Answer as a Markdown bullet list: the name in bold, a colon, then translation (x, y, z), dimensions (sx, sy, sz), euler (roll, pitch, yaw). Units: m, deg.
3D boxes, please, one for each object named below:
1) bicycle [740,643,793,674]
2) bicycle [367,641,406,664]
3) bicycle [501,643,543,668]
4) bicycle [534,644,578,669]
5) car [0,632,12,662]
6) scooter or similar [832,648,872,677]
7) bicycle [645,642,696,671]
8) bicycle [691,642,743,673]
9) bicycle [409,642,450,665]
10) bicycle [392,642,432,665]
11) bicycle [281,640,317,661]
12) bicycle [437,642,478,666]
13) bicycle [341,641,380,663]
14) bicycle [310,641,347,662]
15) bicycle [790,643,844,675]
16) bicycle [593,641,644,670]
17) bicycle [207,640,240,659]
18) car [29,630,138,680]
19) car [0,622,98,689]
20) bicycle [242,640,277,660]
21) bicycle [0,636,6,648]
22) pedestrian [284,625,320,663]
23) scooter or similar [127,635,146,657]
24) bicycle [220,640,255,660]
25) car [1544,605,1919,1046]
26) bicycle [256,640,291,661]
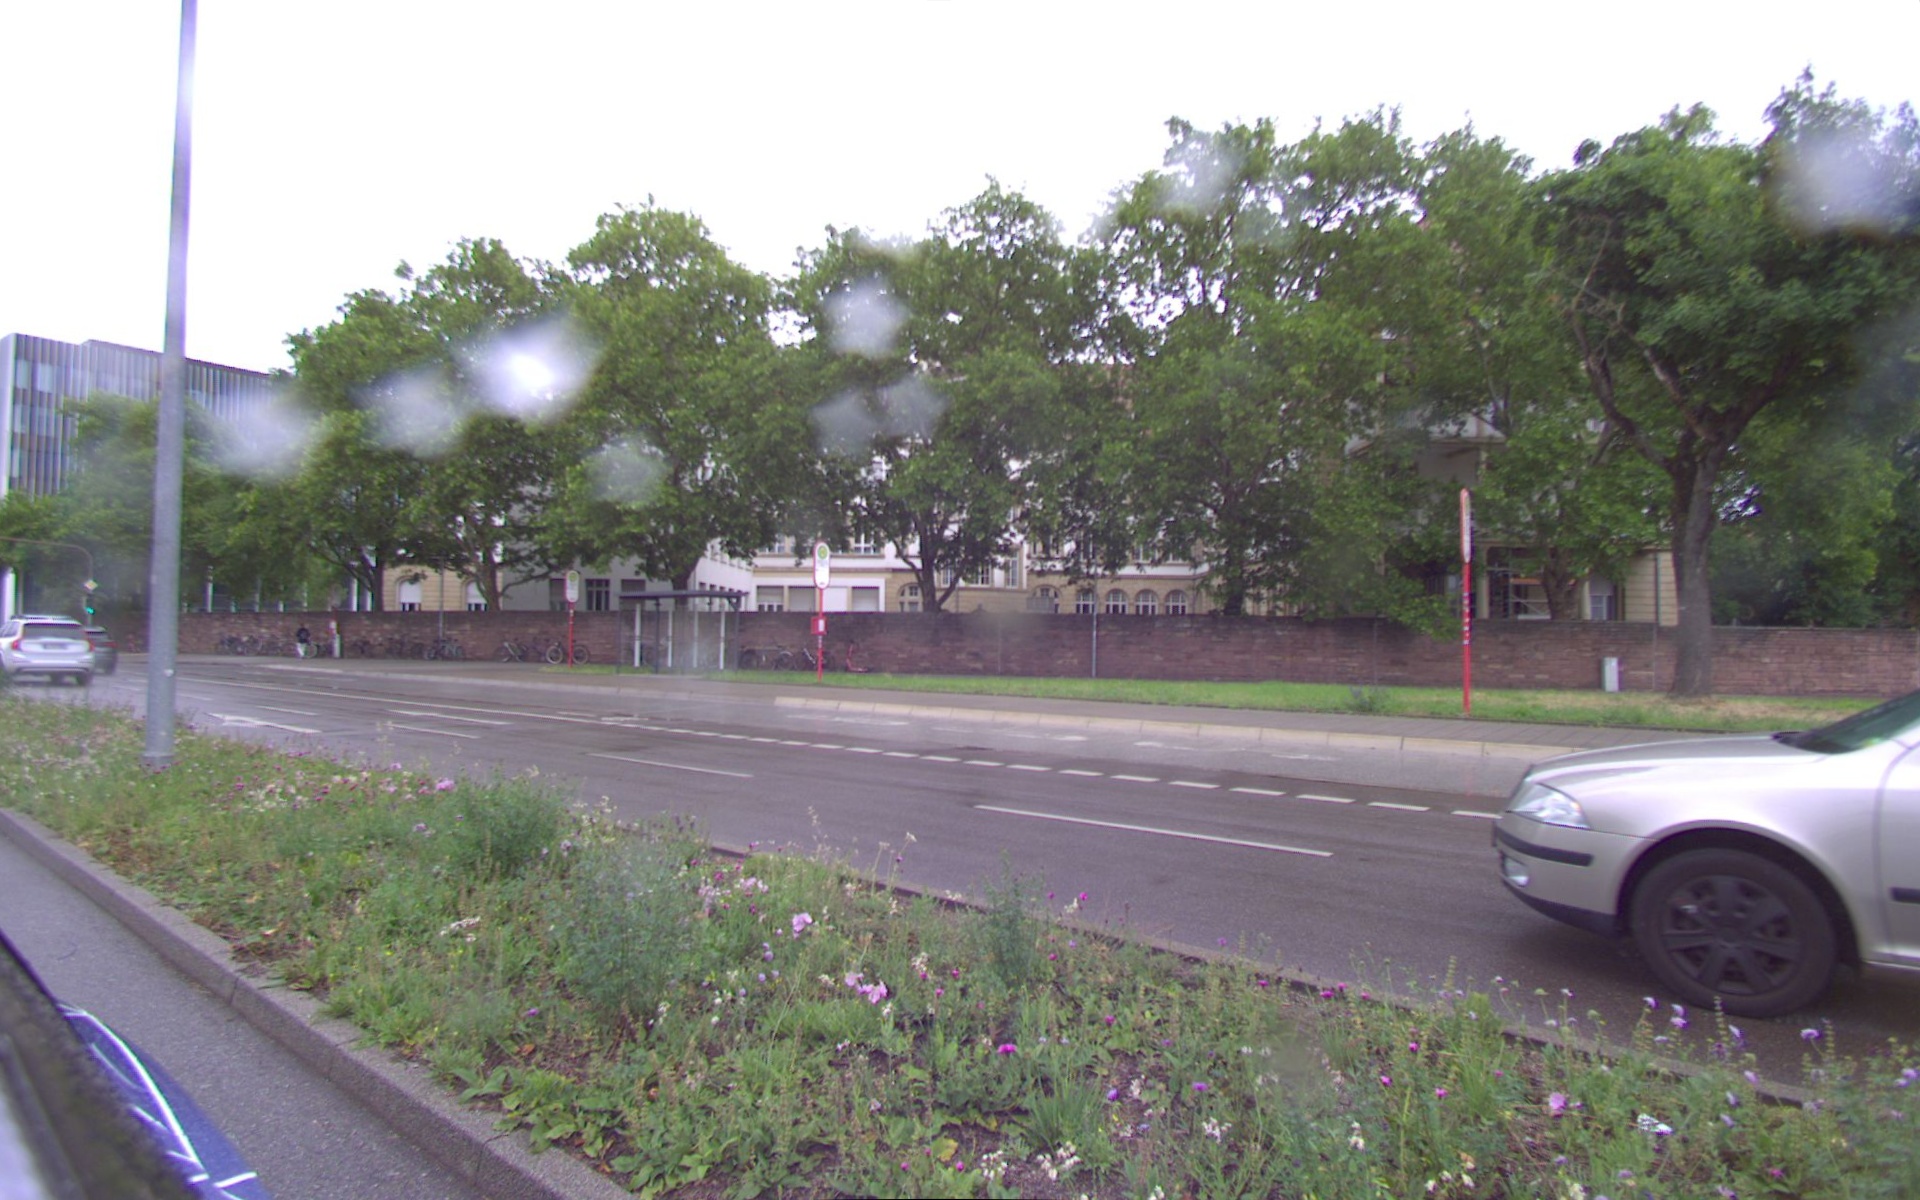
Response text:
- **bicycle**: translation (-7.347, 2.222, 38.452), dimensions (1.978, 1.144, 0.570), euler (-1, -3, 22)
- **bicycle**: translation (-26.216, 2.387, 46.223), dimensions (1.692, 0.990, 0.727), euler (-1, -2, 27)
- **bicycle**: translation (-18.480, 2.337, 42.681), dimensions (1.692, 0.990, 0.727), euler (-1, -2, 27)
- **bicycle**: translation (-16.649, 2.337, 41.697), dimensions (1.692, 0.990, 0.727), euler (-1, -2, 27)
- **car**: translation (-47.977, 2.257, 49.376), dimensions (4.149, 1.415, 1.664), euler (-1, -4, 36)
- **scooter or similar**: translation (-4.006, 2.313, 37.475), dimensions (1.353, 1.055, 0.570), euler (-1, -3, 22)
- **bicycle**: translation (-11.414, 2.217, 39.894), dimensions (1.975, 1.144, 0.571), euler (-1, -3, 18)
- **bicycle**: translation (-9.446, 2.226, 39.296), dimensions (1.978, 1.144, 0.570), euler (-1, -3, 22)
- **bicycle**: translation (-23.487, 2.363, 44.807), dimensions (1.692, 0.990, 0.727), euler (-1, -2, 27)
- **bicycle**: translation (-24.645, 2.383, 45.500), dimensions (1.692, 0.990, 0.727), euler (-1, -2, 27)
- **bicycle**: translation (-32.145, 2.472, 49.219), dimensions (1.692, 0.990, 0.727), euler (-1, -2, 27)
- **bicycle**: translation (-21.576, 2.307, 43.439), dimensions (1.692, 0.990, 0.727), euler (-1, -2, 27)
- **bicycle**: translation (-27.807, 2.407, 46.936), dimensions (1.692, 0.990, 0.727), euler (-1, -2, 27)
- **bicycle**: translation (-30.163, 2.451, 48.367), dimensions (1.692, 0.990, 0.727), euler (-1, -2, 27)
- **bicycle**: translation (-5.357, 2.204, 37.975), dimensions (1.978, 1.144, 0.570), euler (-1, -3, 22)
- **bicycle**: translation (-13.700, 2.231, 40.619), dimensions (1.975, 1.144, 0.571), euler (-1, -3, 18)
- **bicycle**: translation (-38.752, 2.596, 53.238), dimensions (1.692, 0.990, 0.727), euler (-1, -2, 27)
- **car**: translation (-31.478, 1.963, 36.311), dimensions (4.595, 1.648, 1.975), euler (-1, -5, 38)
- **car**: translation (-25.619, 1.496, 27.760), dimensions (5.156, 1.695, 1.809), euler (-1, -4, 37)
- **bicycle**: translation (-35.551, 2.538, 51.349), dimensions (1.692, 0.990, 0.727), euler (-1, -2, 27)
- **bicycle**: translation (-94.758, 4.100, 98.795), dimensions (0.595, 1.231, 2.267), euler (-1, -3, 25)
- **pedestrian**: translation (-30.640, 2.048, 47.151), dimensions (1.395, 1.708, 0.862), euler (-1, -3, 32)
- **scooter or similar**: translation (-47.273, 2.633, 58.080), dimensions (1.138, 1.206, 0.388), euler (-1, 4, 32)
- **bicycle**: translation (-37.142, 2.555, 52.017), dimensions (1.692, 0.990, 0.727), euler (-1, -2, 27)
- **car**: translation (4.435, 0.741, 3.290), dimensions (4.179, 1.426, 1.677), euler (-1, -3, 40)
- **bicycle**: translation (-33.881, 2.490, 49.947), dimensions (1.858, 0.990, 0.726), euler (-1, -2, 31)
